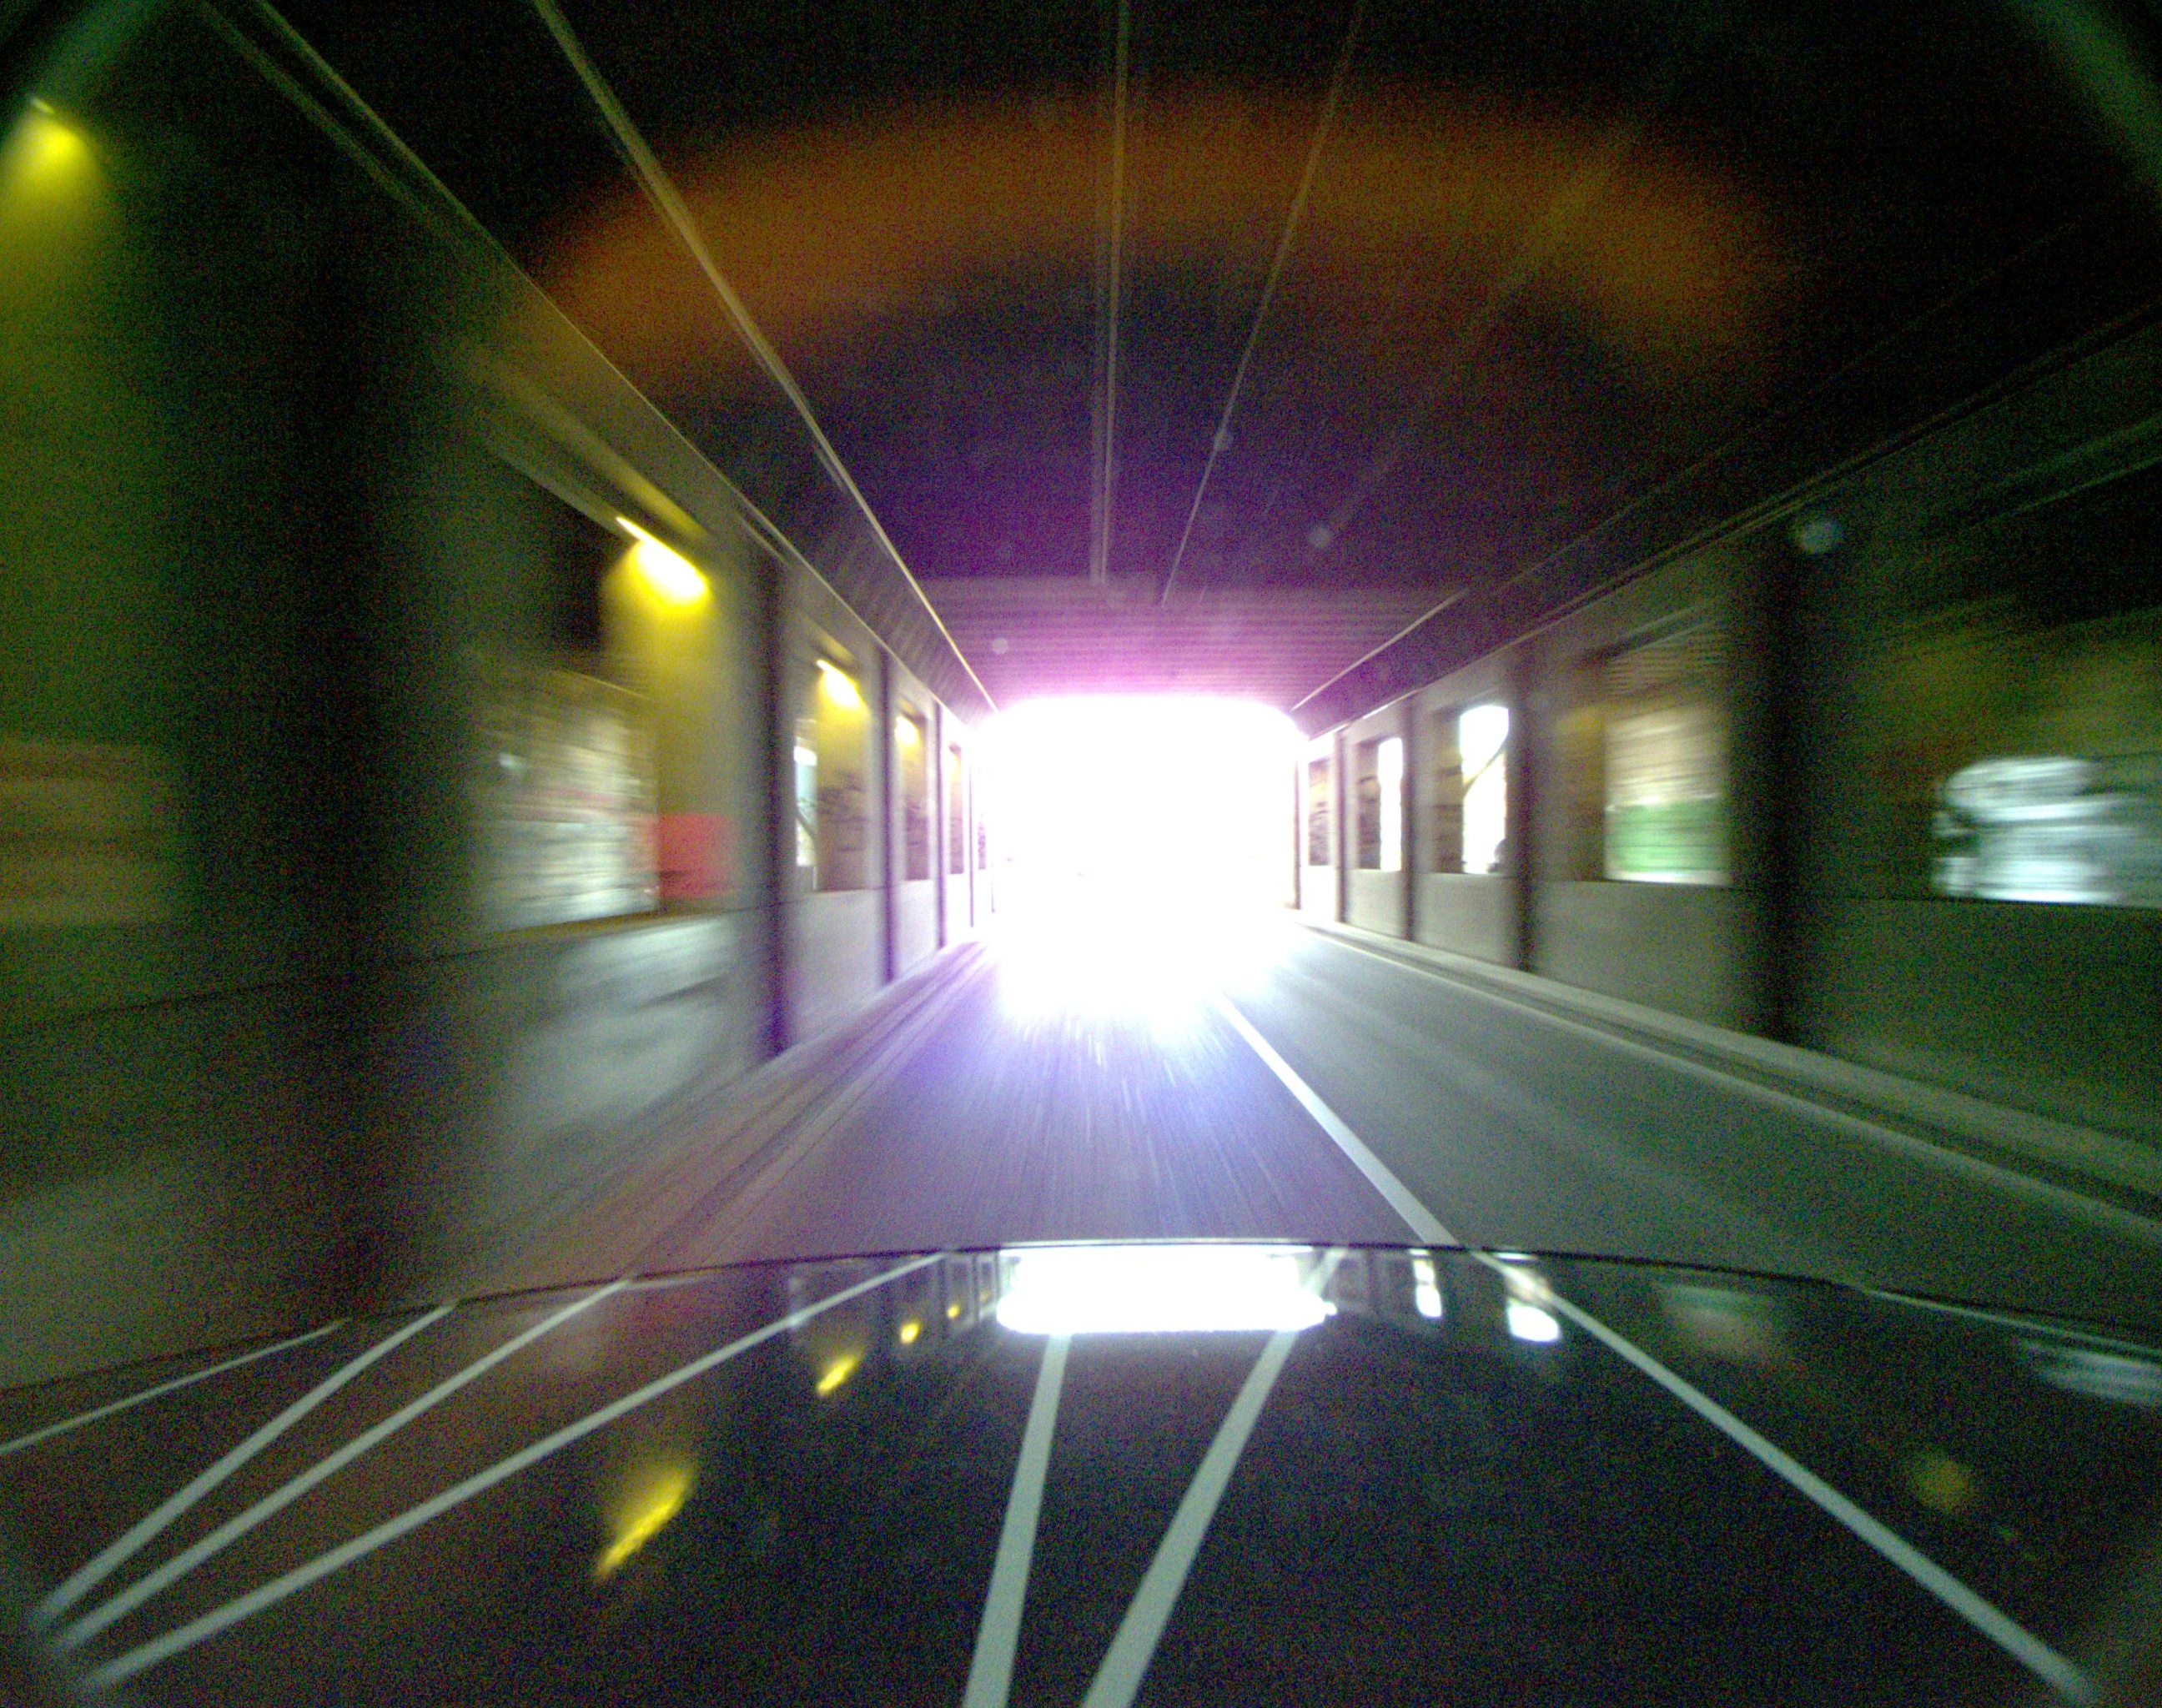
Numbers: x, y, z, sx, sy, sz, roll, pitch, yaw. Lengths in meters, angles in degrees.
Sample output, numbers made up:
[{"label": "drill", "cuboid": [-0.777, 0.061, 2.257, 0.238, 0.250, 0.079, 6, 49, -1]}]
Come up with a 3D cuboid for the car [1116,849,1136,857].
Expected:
[{"label": "car", "cuboid": [10.166, -0.219, 173.070, 4.140, 1.631, 1.777, -2, 2, 21]}]

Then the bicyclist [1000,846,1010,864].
[{"label": "bicyclist", "cuboid": [-7.060, 0.086, 70.949, 0.813, 1.590, 1.149, 0, 0, 0]}]

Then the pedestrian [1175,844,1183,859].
[{"label": "pedestrian", "cuboid": [11.092, -0.320, 86.061, 0.834, 1.620, 1.181, -2, 1, 3]}]

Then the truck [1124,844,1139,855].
[{"label": "truck", "cuboid": [15.125, -1.306, 228.658, 2.339, 2.956, 8.041, -1, 2, 19]}]

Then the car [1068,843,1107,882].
[{"label": "car", "cuboid": [0.312, 0.417, 42.413, 1.941, 1.923, 4.522, -2, 2, -2]}]

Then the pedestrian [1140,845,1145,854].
[{"label": "pedestrian", "cuboid": [13.437, -0.936, 166.148, 0.695, 1.953, 0.929, -1, 2, 30]}]
